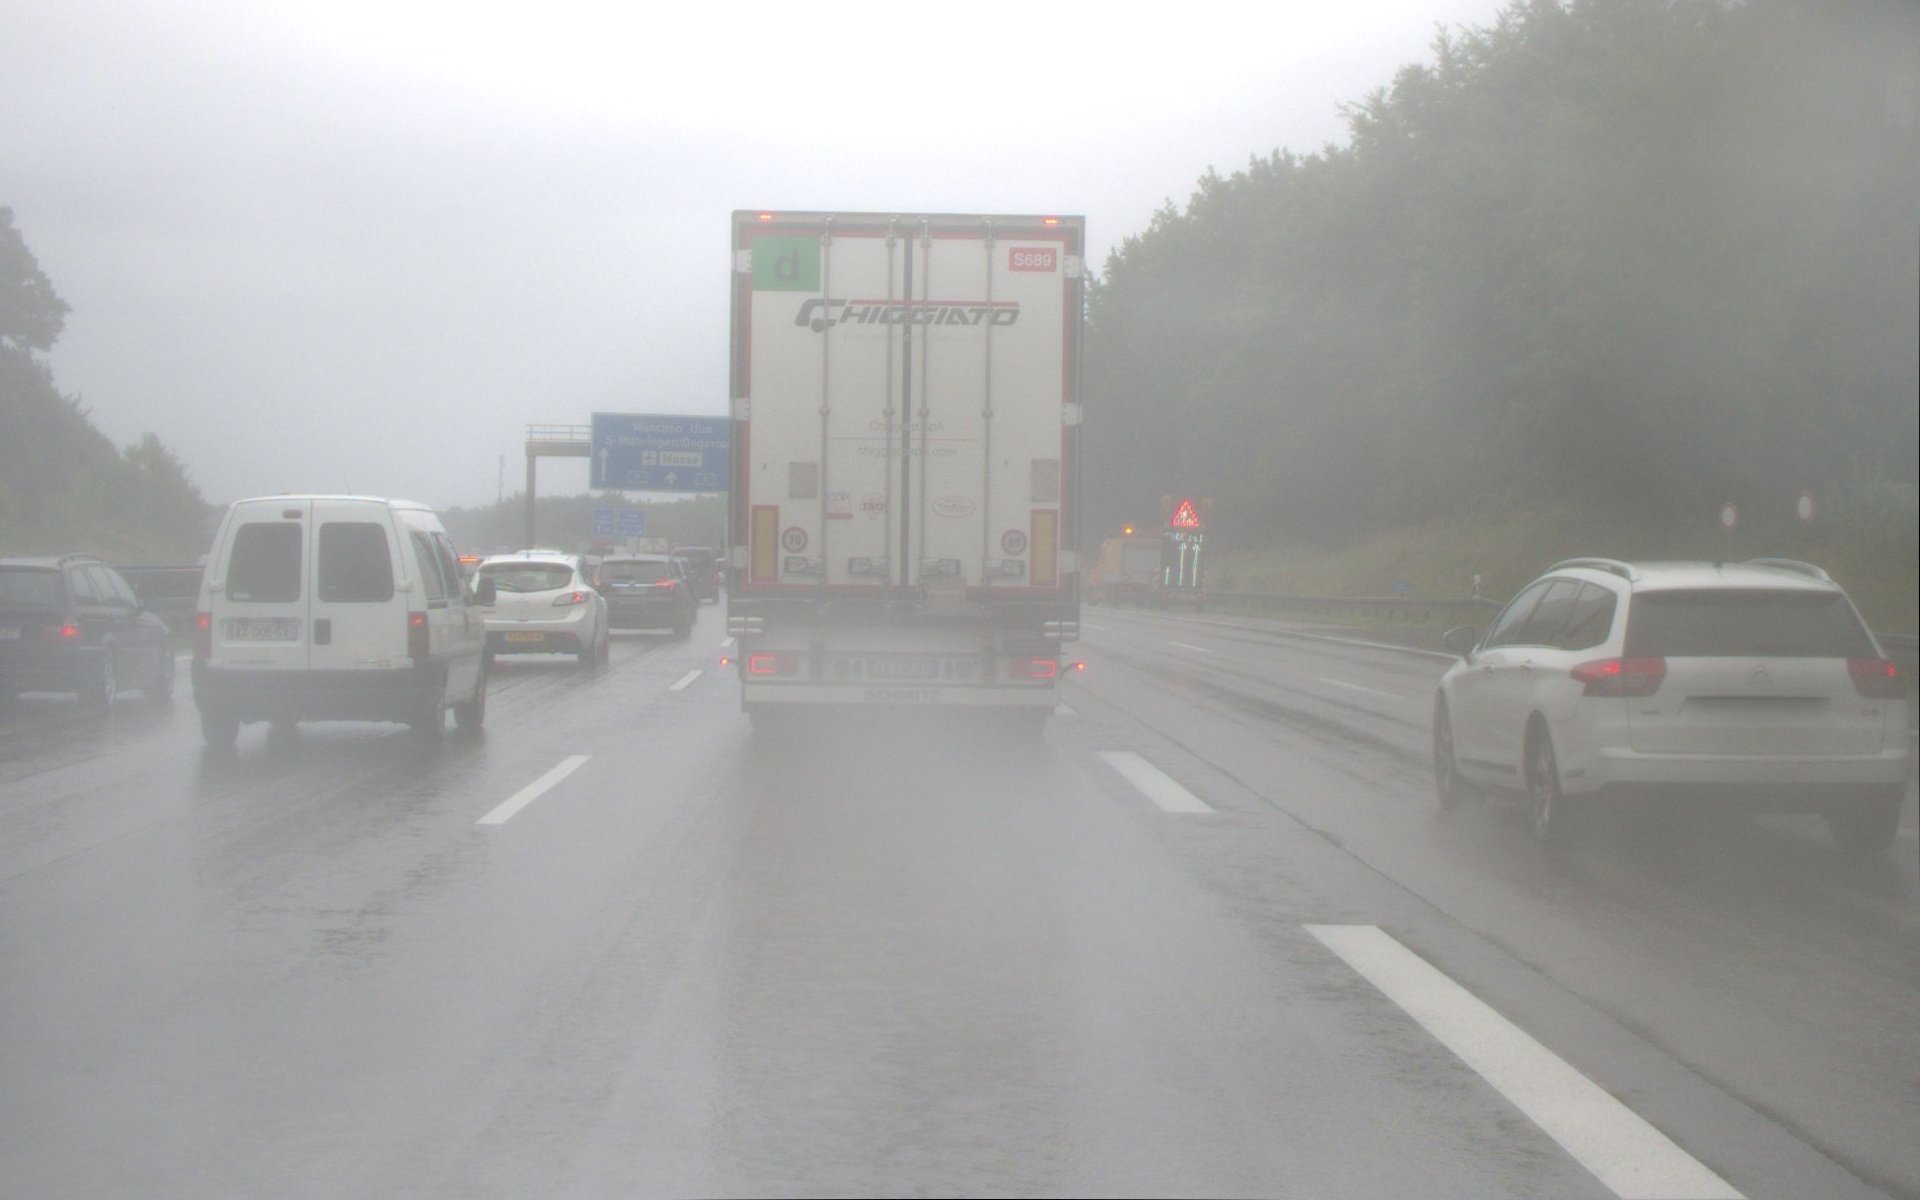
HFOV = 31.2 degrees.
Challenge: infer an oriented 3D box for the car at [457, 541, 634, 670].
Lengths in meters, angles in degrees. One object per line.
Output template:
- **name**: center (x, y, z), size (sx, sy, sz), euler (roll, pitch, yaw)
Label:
- **car**: center (-5.384, 0.030, 45.096), size (1.845, 1.586, 4.072), euler (1, 1, -1)

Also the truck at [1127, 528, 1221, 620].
- **truck**: center (7.000, -0.892, 113.300), size (2.589, 2.931, 6.456), euler (1, 1, -1)

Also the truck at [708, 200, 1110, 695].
- **truck**: center (-0.525, -1.144, 30.646), size (2.872, 3.550, 11.303), euler (1, 0, -2)

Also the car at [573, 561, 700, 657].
- **car**: center (-5.689, 0.127, 60.898), size (1.845, 1.586, 4.467), euler (1, 1, -1)

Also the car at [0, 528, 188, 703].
- **car**: center (-8.688, 0.085, 32.060), size (2.090, 1.499, 4.755), euler (1, 1, -3)

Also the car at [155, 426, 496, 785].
- **car**: center (-4.916, -0.001, 27.338), size (2.212, 2.564, 5.016), euler (1, 1, -6)

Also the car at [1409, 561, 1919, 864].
- **car**: center (3.807, 0.512, 18.622), size (2.006, 1.389, 4.568), euler (1, 1, -2)
